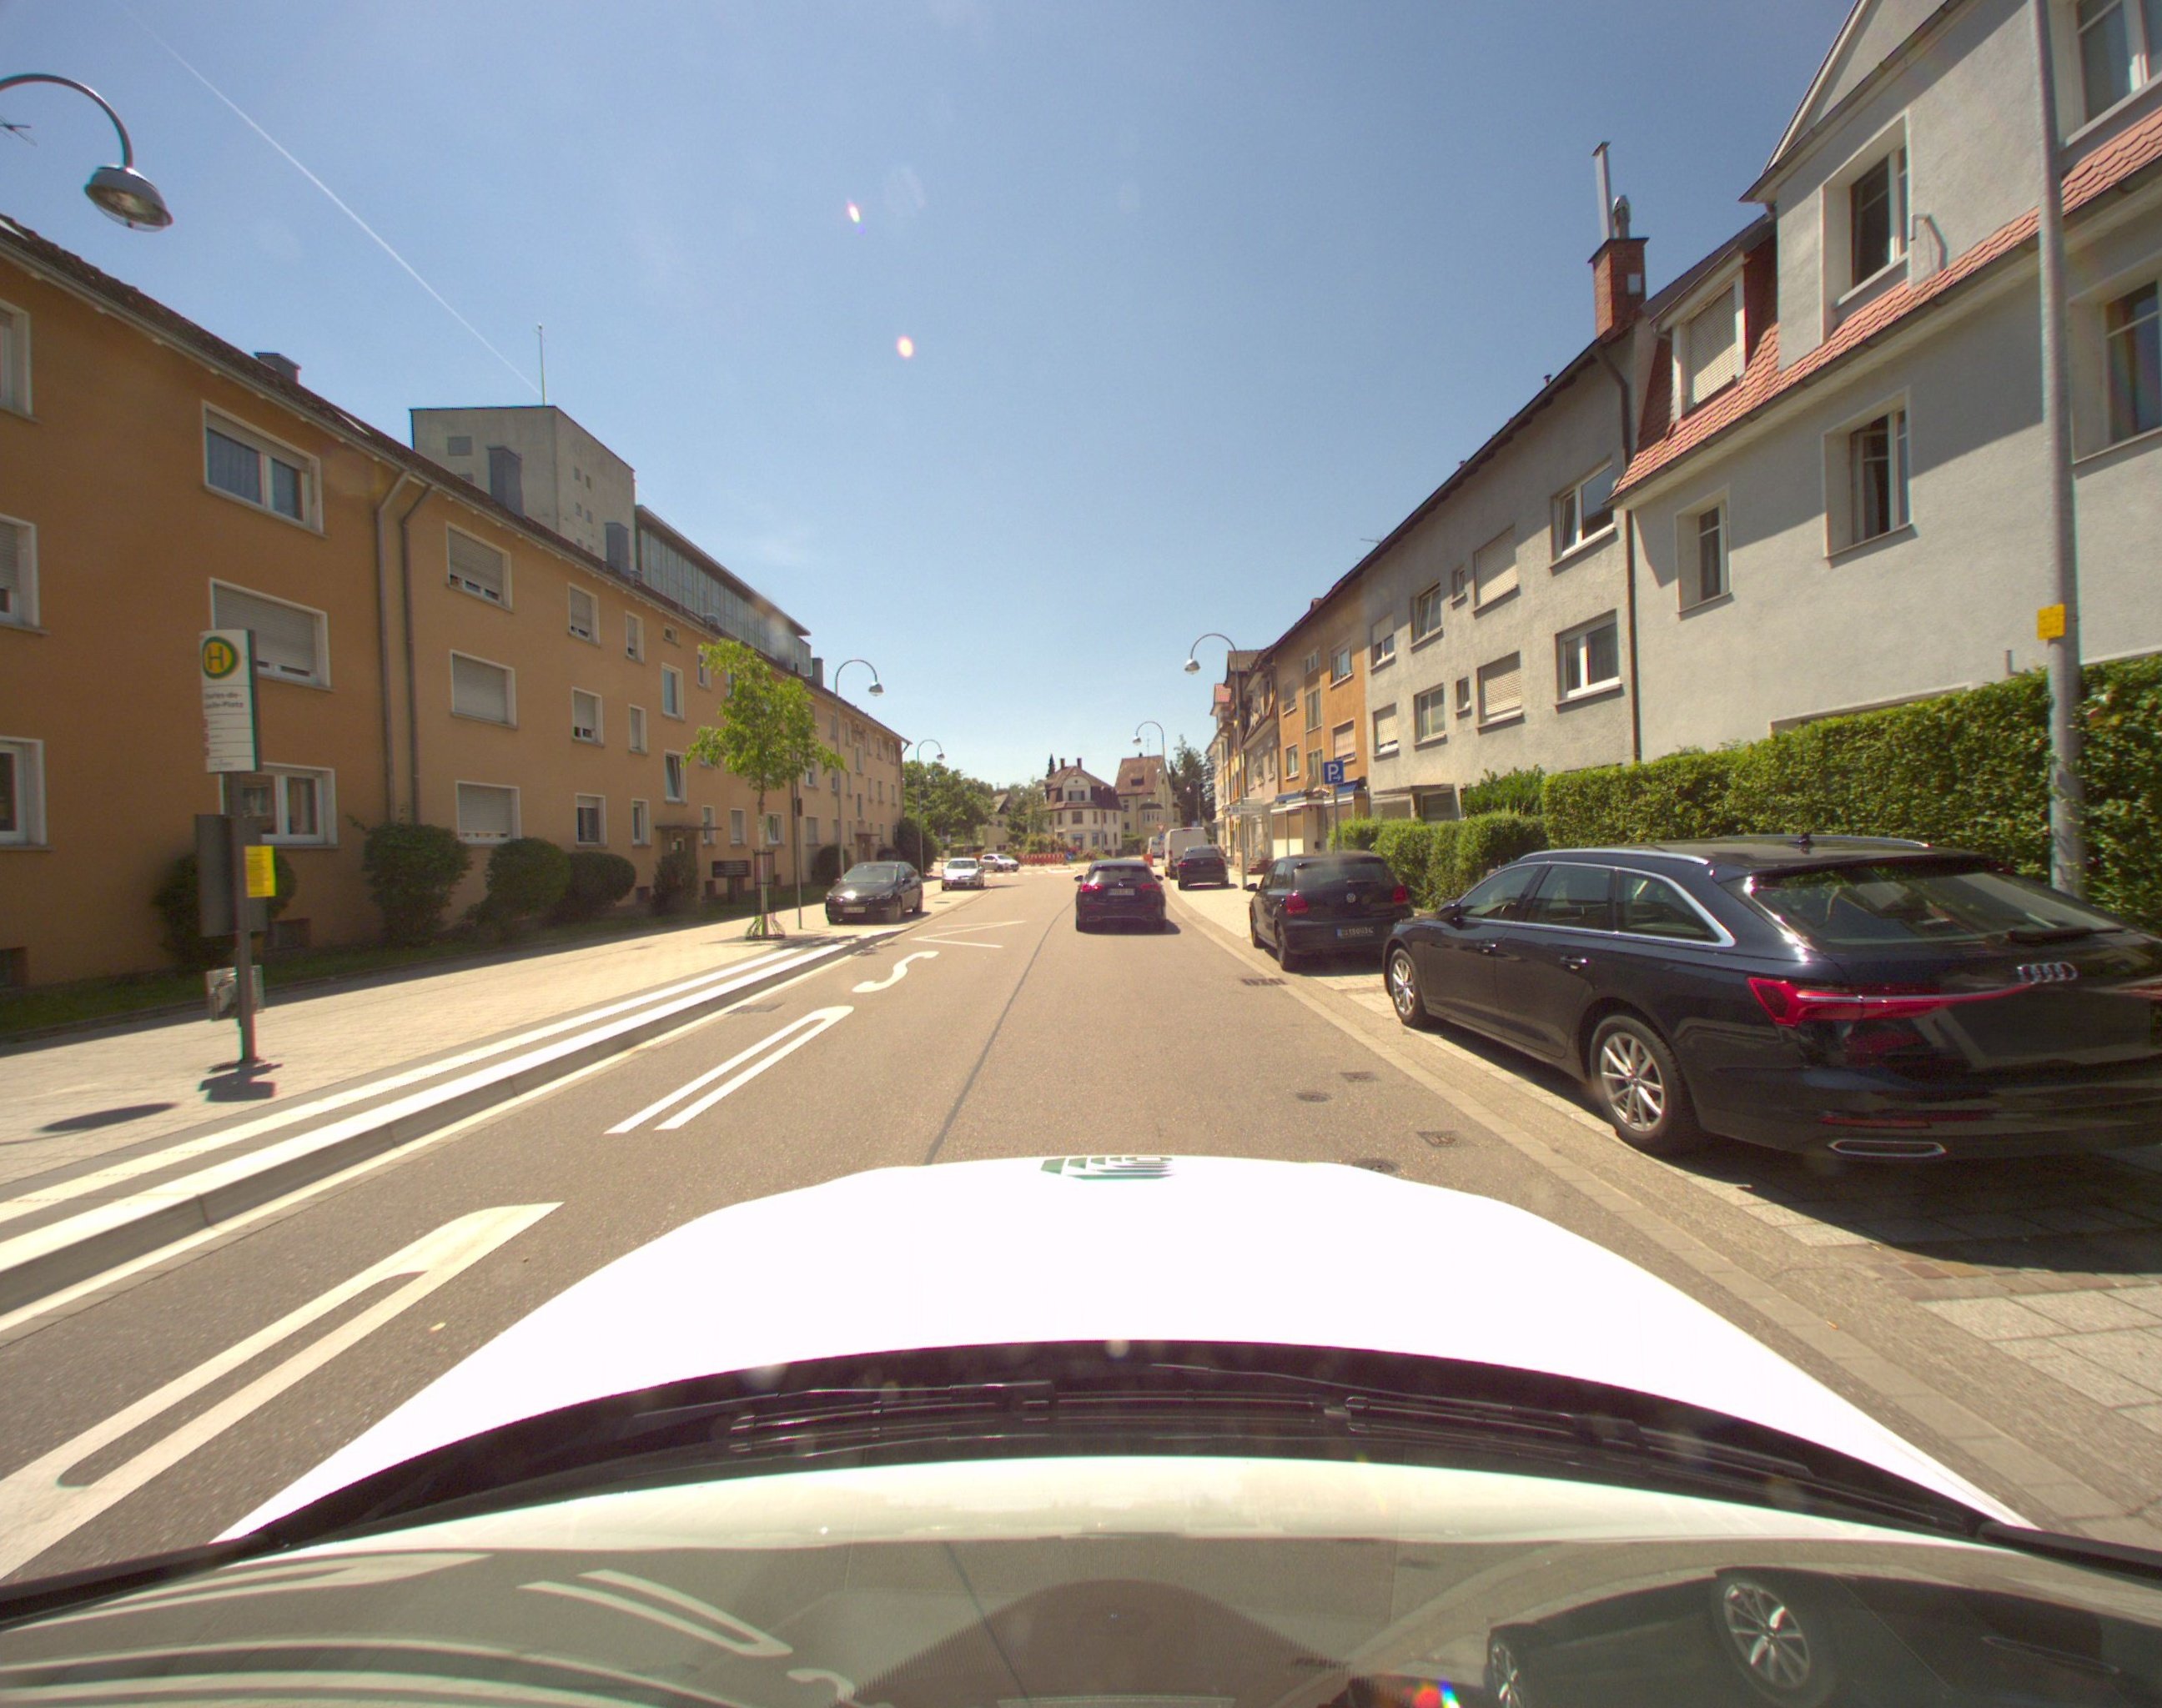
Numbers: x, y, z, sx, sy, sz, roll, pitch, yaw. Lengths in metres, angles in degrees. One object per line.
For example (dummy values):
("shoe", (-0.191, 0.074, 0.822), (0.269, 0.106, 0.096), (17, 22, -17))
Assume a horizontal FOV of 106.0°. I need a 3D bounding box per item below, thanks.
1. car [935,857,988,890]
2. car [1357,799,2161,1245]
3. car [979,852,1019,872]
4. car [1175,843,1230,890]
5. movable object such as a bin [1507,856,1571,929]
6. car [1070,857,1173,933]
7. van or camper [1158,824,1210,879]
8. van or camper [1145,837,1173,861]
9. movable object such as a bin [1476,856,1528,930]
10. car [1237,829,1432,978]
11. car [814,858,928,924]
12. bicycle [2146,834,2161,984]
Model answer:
("car", (-5.525, 0.864, 38.131), (1.989, 1.420, 4.085), (0, 0, -2))
("car", (3.531, 0.585, 5.298), (1.797, 1.475, 4.720), (-5, 0, 0))
("car", (-6.750, 0.671, 66.968), (1.672, 1.496, 3.718), (-2, 0, -35))
("car", (4.757, 0.445, 31.659), (1.884, 1.607, 4.376), (-3, 0, 10))
("movable object such as a bin", (7.108, 0.580, 12.665), (0.551, 1.085, 0.776), (-2, 0, 2))
("car", (0.828, 0.811, 17.463), (1.946, 1.427, 4.001), (-1, -1, 1))
("van or camper", (5.378, -0.126, 43.119), (2.156, 2.588, 5.770), (-3, 0, 2))
("van or camper", (8.704, -0.554, 90.620), (2.187, 2.610, 4.020), (-1, 0, 19))
("movable object such as a bin", (6.553, 0.590, 12.689), (0.485, 1.104, 0.555), (-2, 0, 1))
("car", (3.366, 0.564, 11.596), (1.720, 1.633, 4.006), (-4, 0, 5))
("car", (-5.415, 0.892, 21.585), (1.851, 1.506, 4.561), (0, 1, 0))
("bicycle", (9.046, 0.449, 5.743), (0.531, 1.206, 1.882), (0, 0, -5))
